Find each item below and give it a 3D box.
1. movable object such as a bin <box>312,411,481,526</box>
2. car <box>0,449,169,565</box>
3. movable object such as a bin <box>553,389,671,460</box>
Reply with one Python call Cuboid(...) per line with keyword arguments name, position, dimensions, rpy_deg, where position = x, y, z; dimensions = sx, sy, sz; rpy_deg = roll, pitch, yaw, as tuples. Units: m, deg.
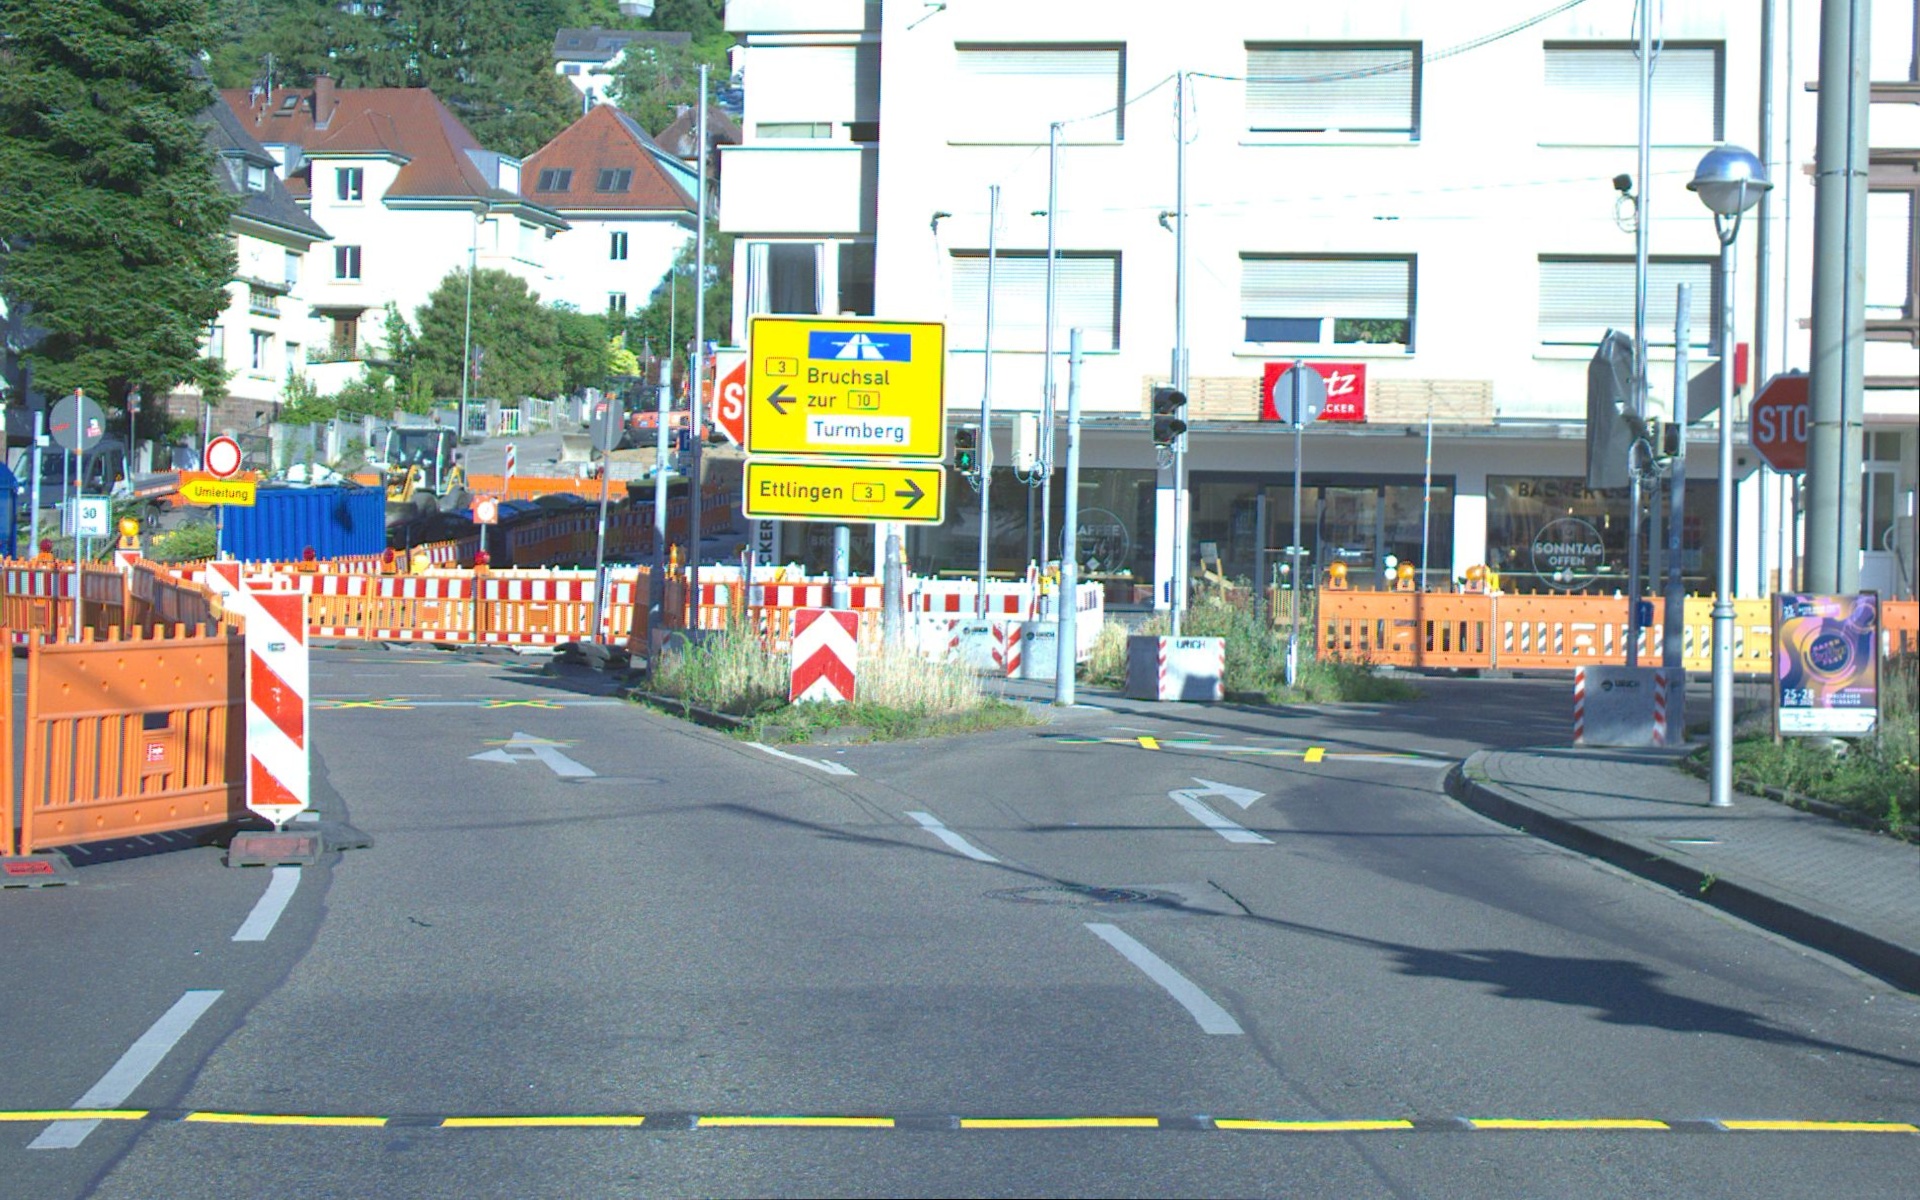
Cuboid(name="movable object such as a bin", position=(-12.889, -2.986, 78.954), dimensions=(1.950, 2.486, 4.547), rpy_deg=(1, 1, 18))
Cuboid(name="car", position=(-17.970, -1.751, 66.130), dimensions=(2.585, 2.113, 6.145), rpy_deg=(1, 1, 18))
Cuboid(name="movable object such as a bin", position=(-11.592, -5.834, 114.849), dimensions=(2.566, 2.114, 5.782), rpy_deg=(1, 1, 8))
